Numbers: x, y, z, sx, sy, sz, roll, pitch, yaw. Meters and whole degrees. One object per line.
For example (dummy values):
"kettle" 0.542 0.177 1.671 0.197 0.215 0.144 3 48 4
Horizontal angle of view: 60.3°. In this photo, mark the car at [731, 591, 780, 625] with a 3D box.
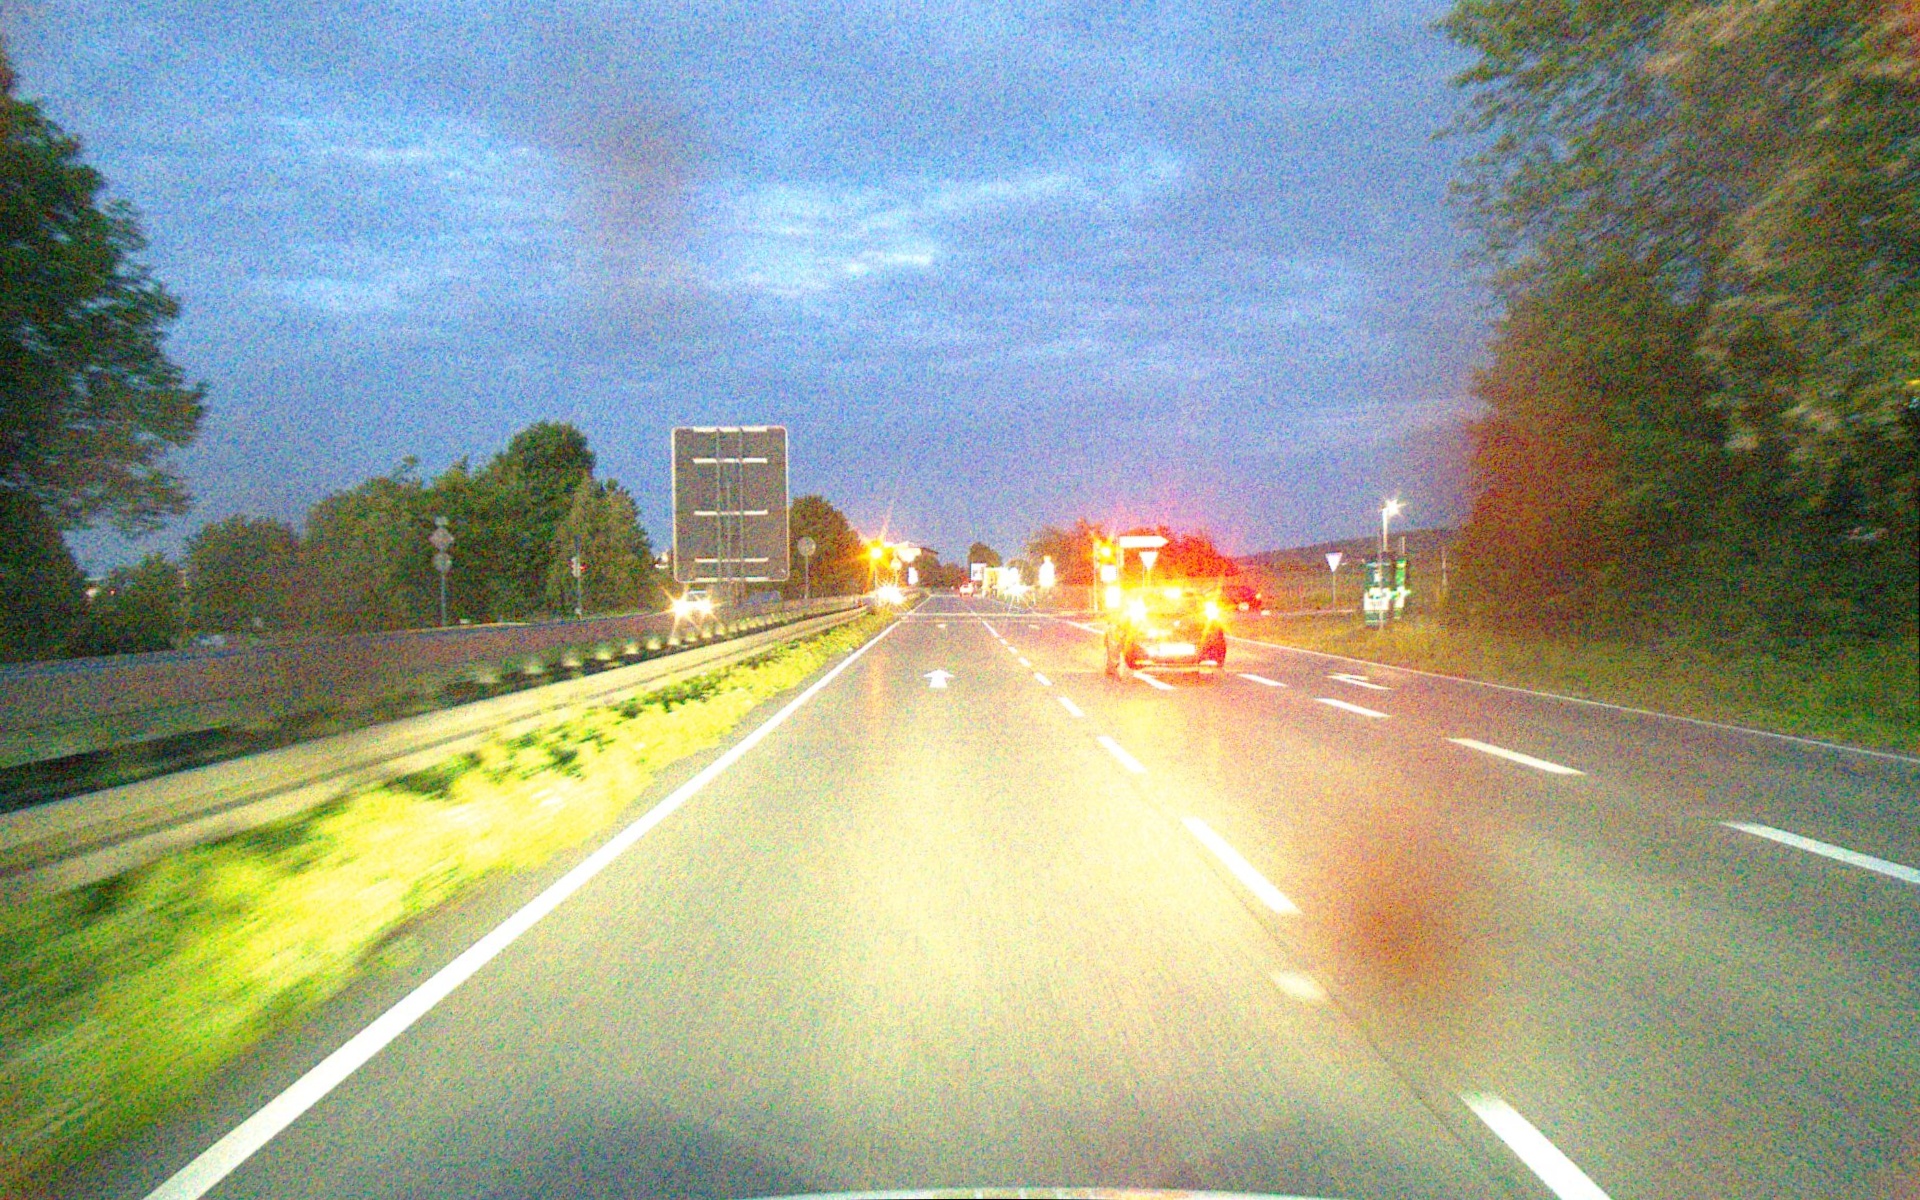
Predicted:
"car" -9.557 0.354 77.422 1.882 1.457 4.499 -2 0 -3

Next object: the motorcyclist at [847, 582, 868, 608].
"motorcyclist" -6.436 -0.327 103.907 1.113 1.612 0.973 -1 0 5

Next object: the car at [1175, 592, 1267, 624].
"car" 13.856 0.402 87.973 4.507 1.547 2.000 -2 0 -1

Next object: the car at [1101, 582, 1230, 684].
"car" 3.283 0.488 27.053 1.636 1.547 4.106 0 0 0

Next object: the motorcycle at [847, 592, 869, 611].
"motorcycle" -6.396 0.094 104.109 0.958 1.118 2.510 -1 1 6

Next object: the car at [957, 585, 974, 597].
"car" 0.724 -1.306 233.963 2.228 1.660 3.999 -1 0 -2

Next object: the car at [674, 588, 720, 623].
"car" -13.251 0.255 83.530 1.758 1.700 4.499 0 0 -3
